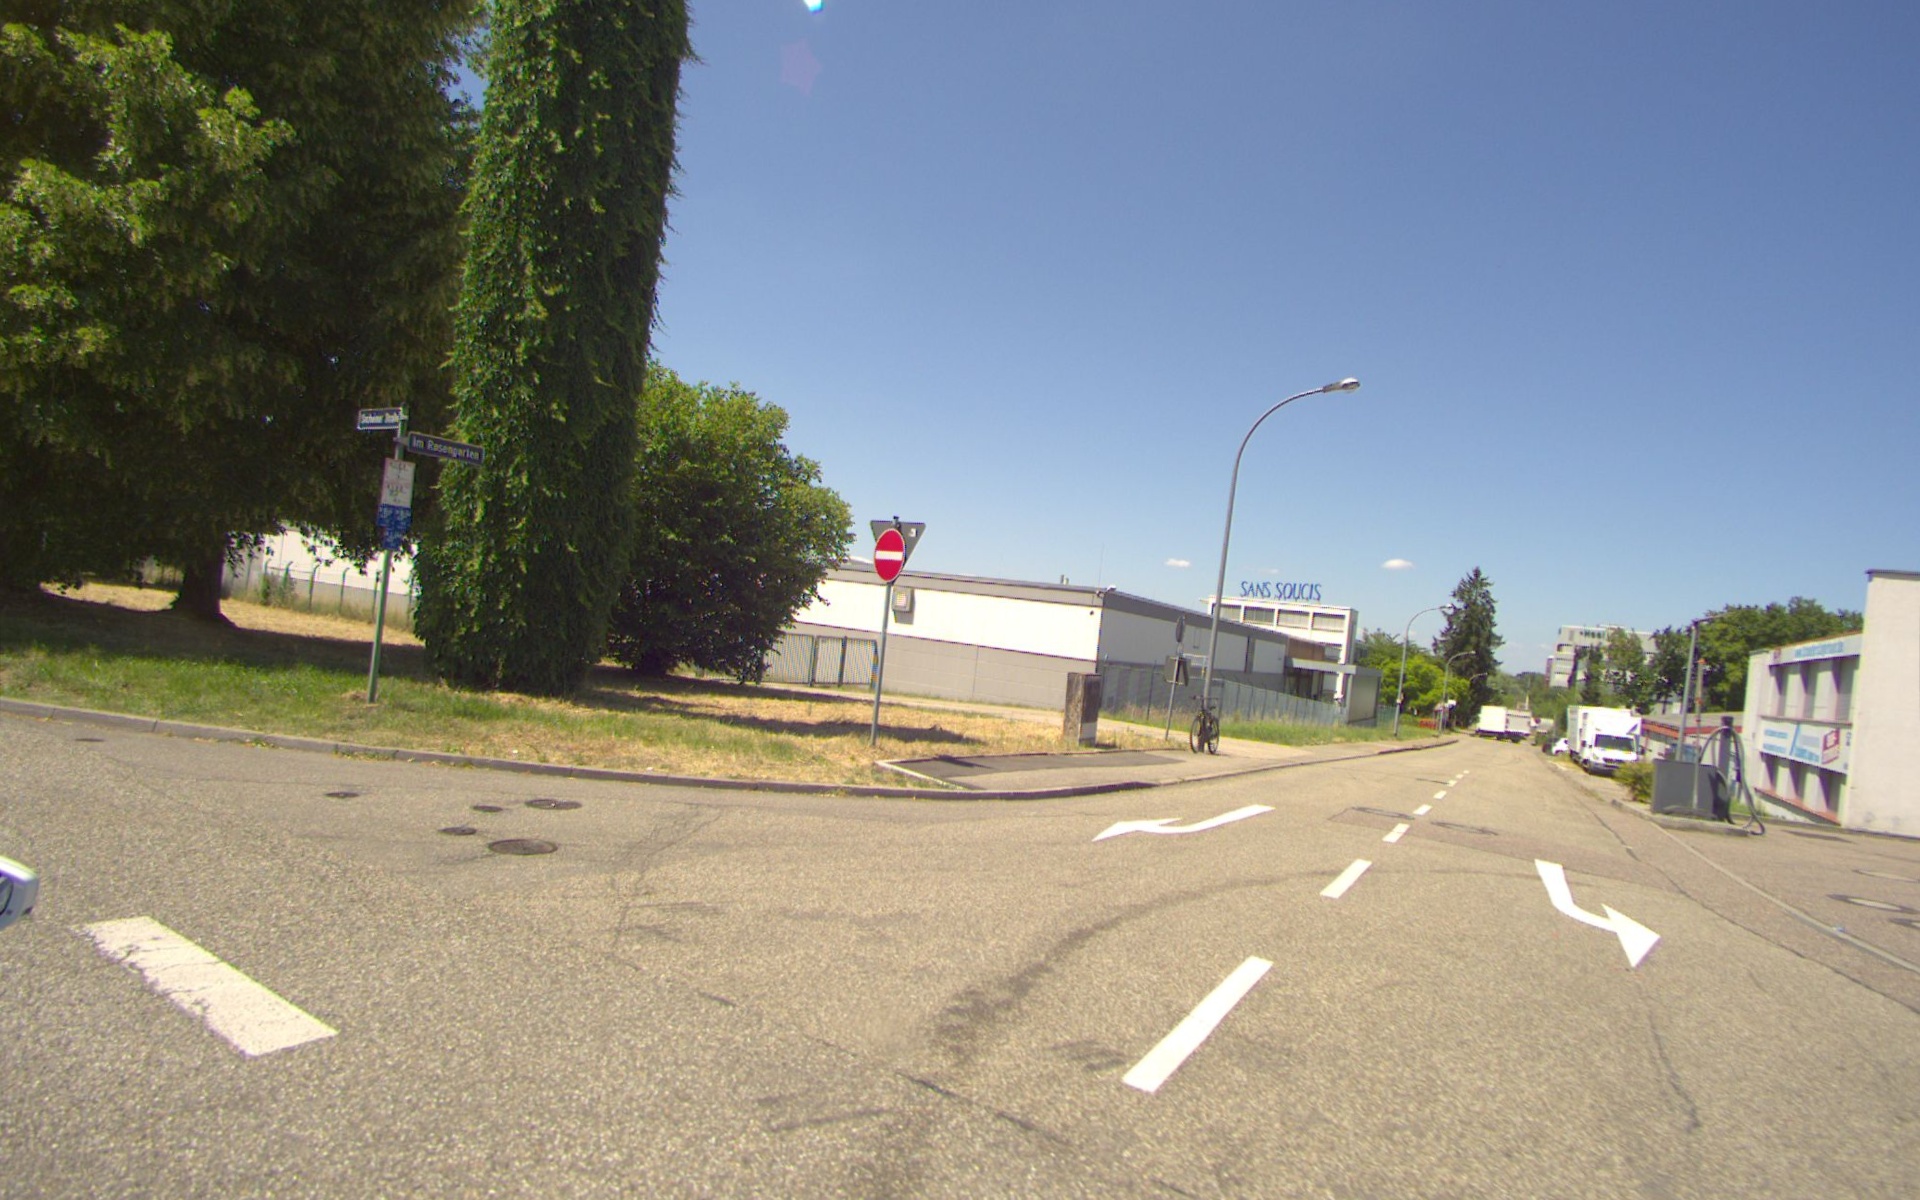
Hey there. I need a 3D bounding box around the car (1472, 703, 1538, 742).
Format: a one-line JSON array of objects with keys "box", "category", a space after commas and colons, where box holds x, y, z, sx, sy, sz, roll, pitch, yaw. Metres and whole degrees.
[{"box": [57.188, 12.810, 105.785, 3.253, 3.342, 7.582, 7, -3, 7], "category": "car"}]

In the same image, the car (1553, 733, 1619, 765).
[{"box": [45.517, 10.803, 73.221, 3.934, 1.705, 1.901, 6, -2, 32], "category": "car"}]

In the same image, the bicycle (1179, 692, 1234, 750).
[{"box": [5.096, 2.498, 20.745, 0.460, 1.110, 1.696, 6, -3, 34], "category": "bicycle"}]

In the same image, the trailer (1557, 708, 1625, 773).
[{"box": [38.258, 8.459, 61.254, 2.430, 3.354, 8.503, 6, -3, 27], "category": "trailer"}]

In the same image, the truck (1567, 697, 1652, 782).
[{"box": [34.109, 7.245, 53.156, 2.523, 3.762, 9.478, 6, -3, 28], "category": "truck"}]
